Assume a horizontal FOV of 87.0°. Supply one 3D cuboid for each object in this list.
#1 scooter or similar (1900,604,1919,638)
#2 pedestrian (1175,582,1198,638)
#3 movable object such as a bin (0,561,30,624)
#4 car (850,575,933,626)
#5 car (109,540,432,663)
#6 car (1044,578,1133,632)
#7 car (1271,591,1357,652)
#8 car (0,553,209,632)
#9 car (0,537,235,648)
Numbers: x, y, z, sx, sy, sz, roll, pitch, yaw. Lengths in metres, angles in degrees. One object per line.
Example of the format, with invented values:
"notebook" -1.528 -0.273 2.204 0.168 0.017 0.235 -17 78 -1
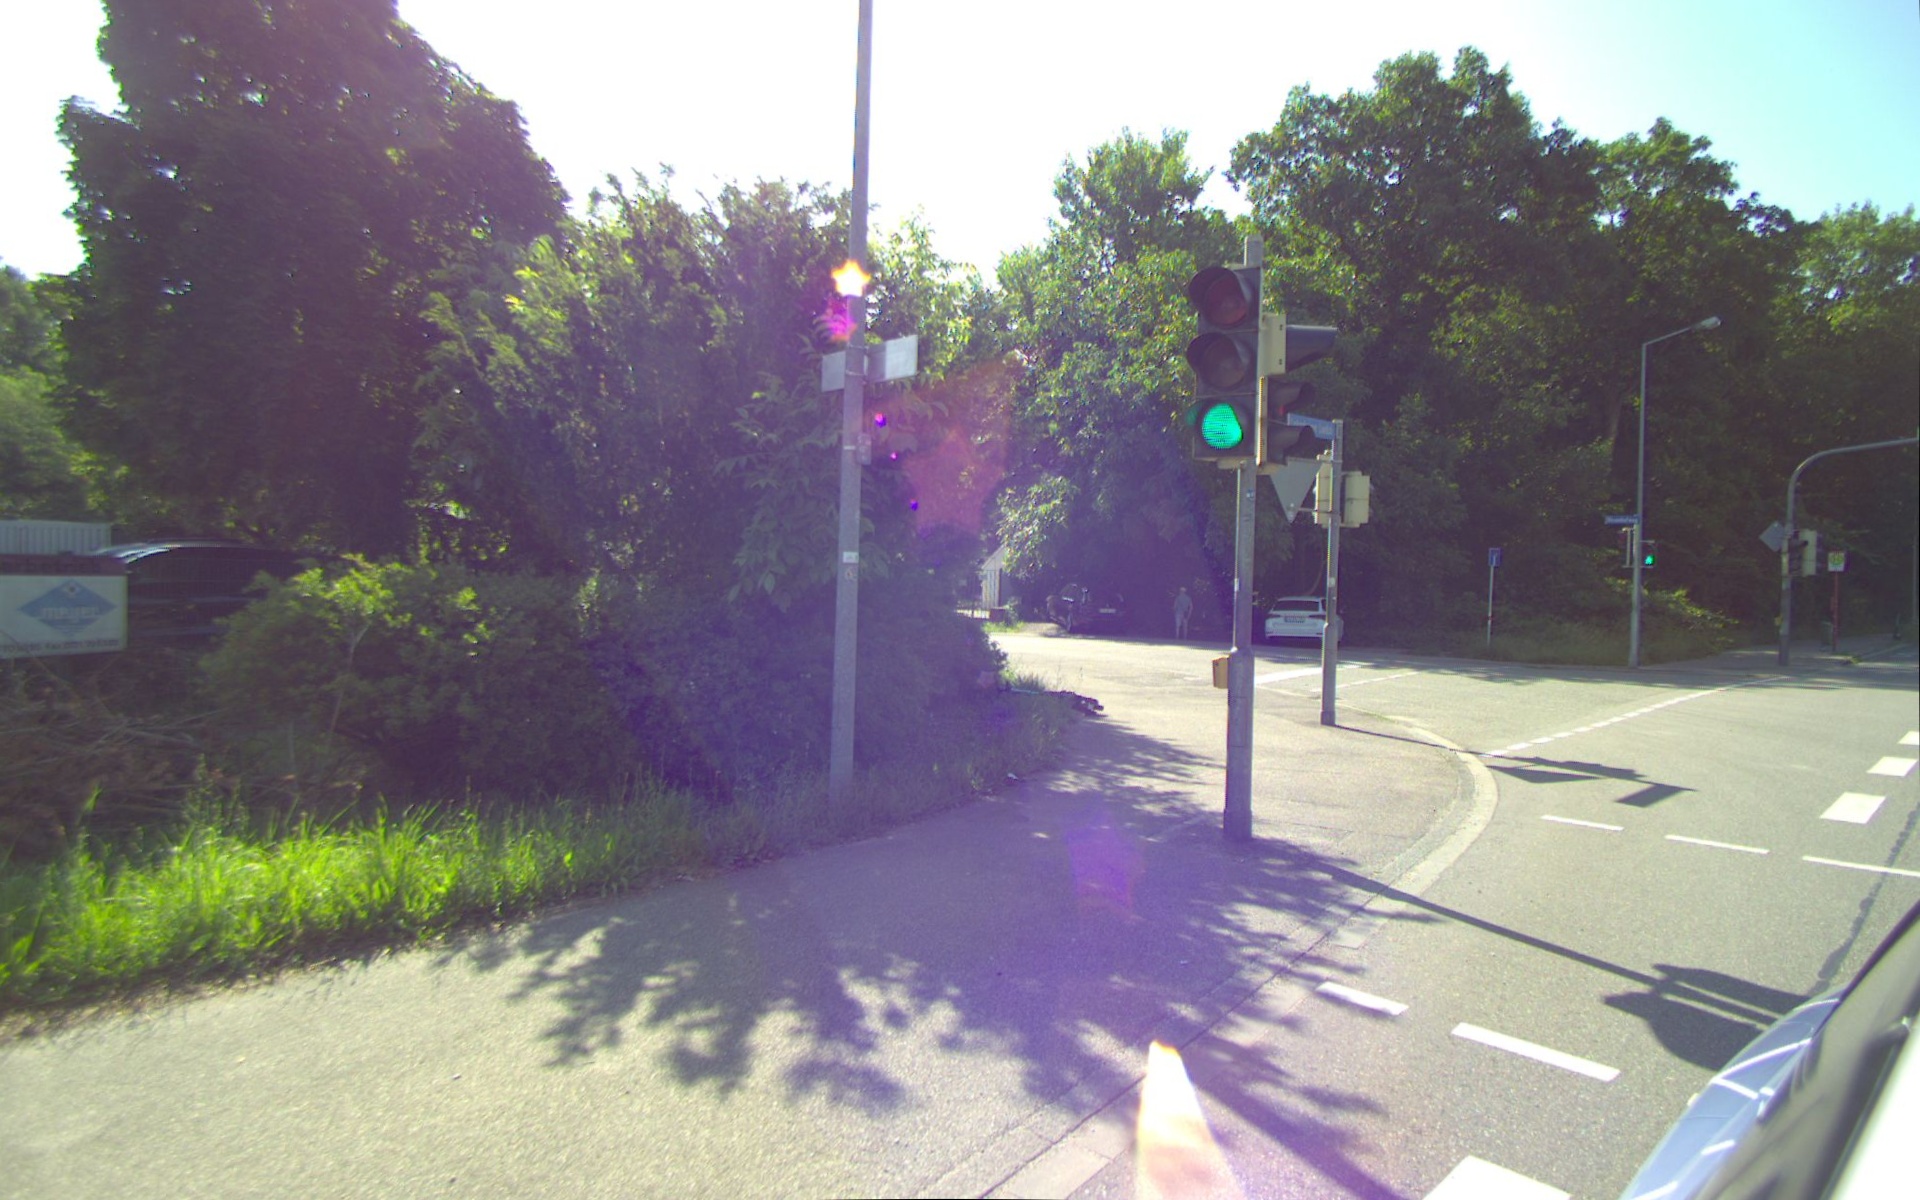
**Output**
"scooter or similar" 38.285 0.824 40.732 0.398 1.323 1.314 2 1 33
"pedestrian" 6.820 0.283 30.521 0.599 1.650 0.414 2 1 8
"movable object such as a bin" -20.456 -0.174 21.208 1.215 1.305 0.864 2 1 10
"car" -2.145 -0.038 32.668 1.604 1.482 3.973 2 1 13
"car" -10.478 -0.006 15.555 3.875 1.649 1.680 0 1 -45
"car" 3.857 0.106 30.923 1.595 1.482 3.798 1 1 -10
"car" 9.991 0.526 28.371 1.614 1.482 4.571 2 2 27
"car" -17.760 -0.183 20.932 3.449 1.455 1.682 0 4 -41
"car" -15.513 -0.203 18.121 3.877 1.814 1.680 -4 4 -44
